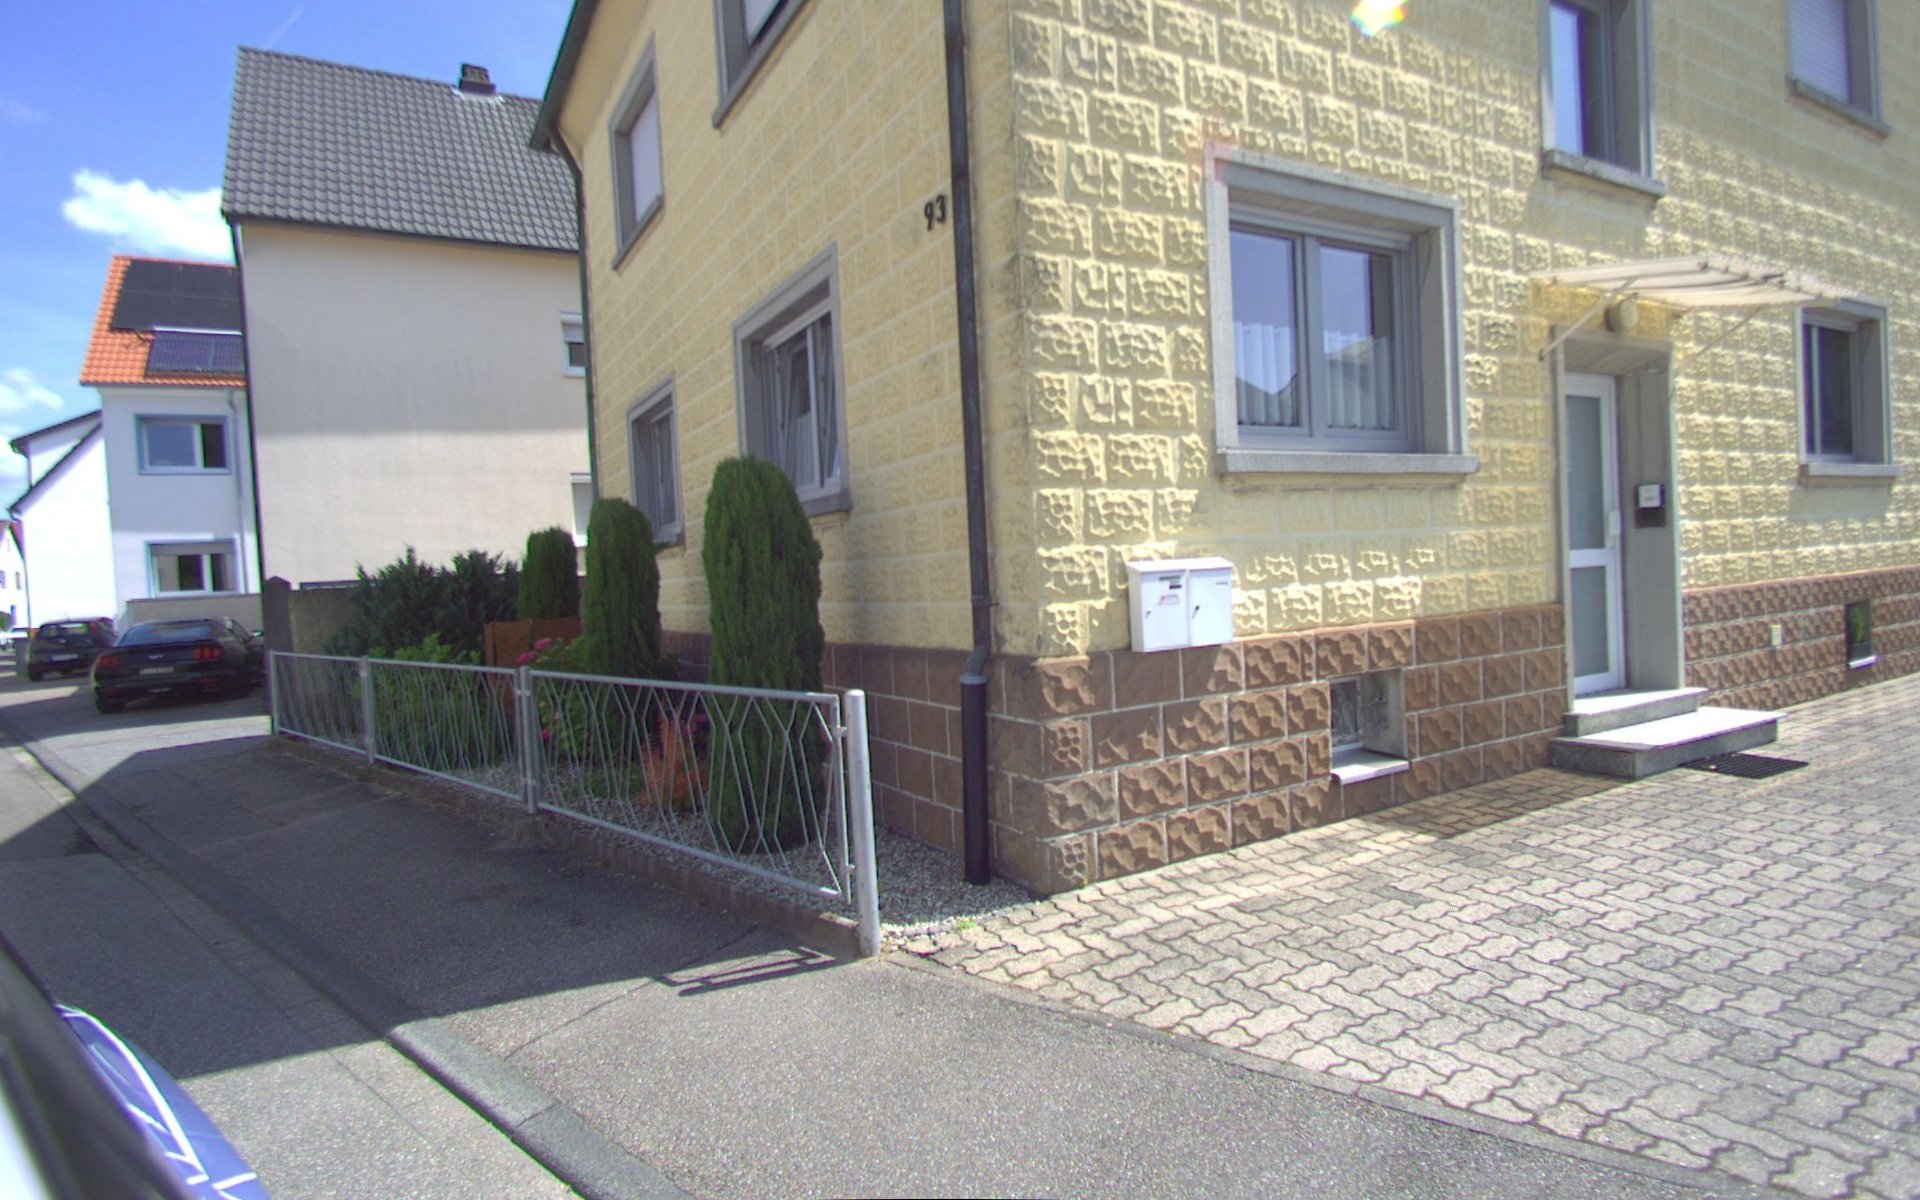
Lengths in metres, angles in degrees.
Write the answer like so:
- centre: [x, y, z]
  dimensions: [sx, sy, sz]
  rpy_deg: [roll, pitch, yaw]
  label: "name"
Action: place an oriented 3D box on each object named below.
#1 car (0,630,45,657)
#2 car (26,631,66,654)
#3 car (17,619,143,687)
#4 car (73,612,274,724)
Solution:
- centre: [-64.023, 2.924, 69.104]
  dimensions: [1.757, 1.511, 4.049]
  rpy_deg: [-7, 4, -36]
  label: "car"
- centre: [-71.461, 3.317, 79.166]
  dimensions: [1.757, 1.511, 4.049]
  rpy_deg: [-7, 4, -36]
  label: "car"
- centre: [-22.761, 1.303, 26.319]
  dimensions: [1.615, 1.465, 3.798]
  rpy_deg: [-6, 2, -29]
  label: "car"
- centre: [-12.774, 1.000, 16.746]
  dimensions: [1.745, 1.359, 4.484]
  rpy_deg: [-5, 3, -27]
  label: "car"
